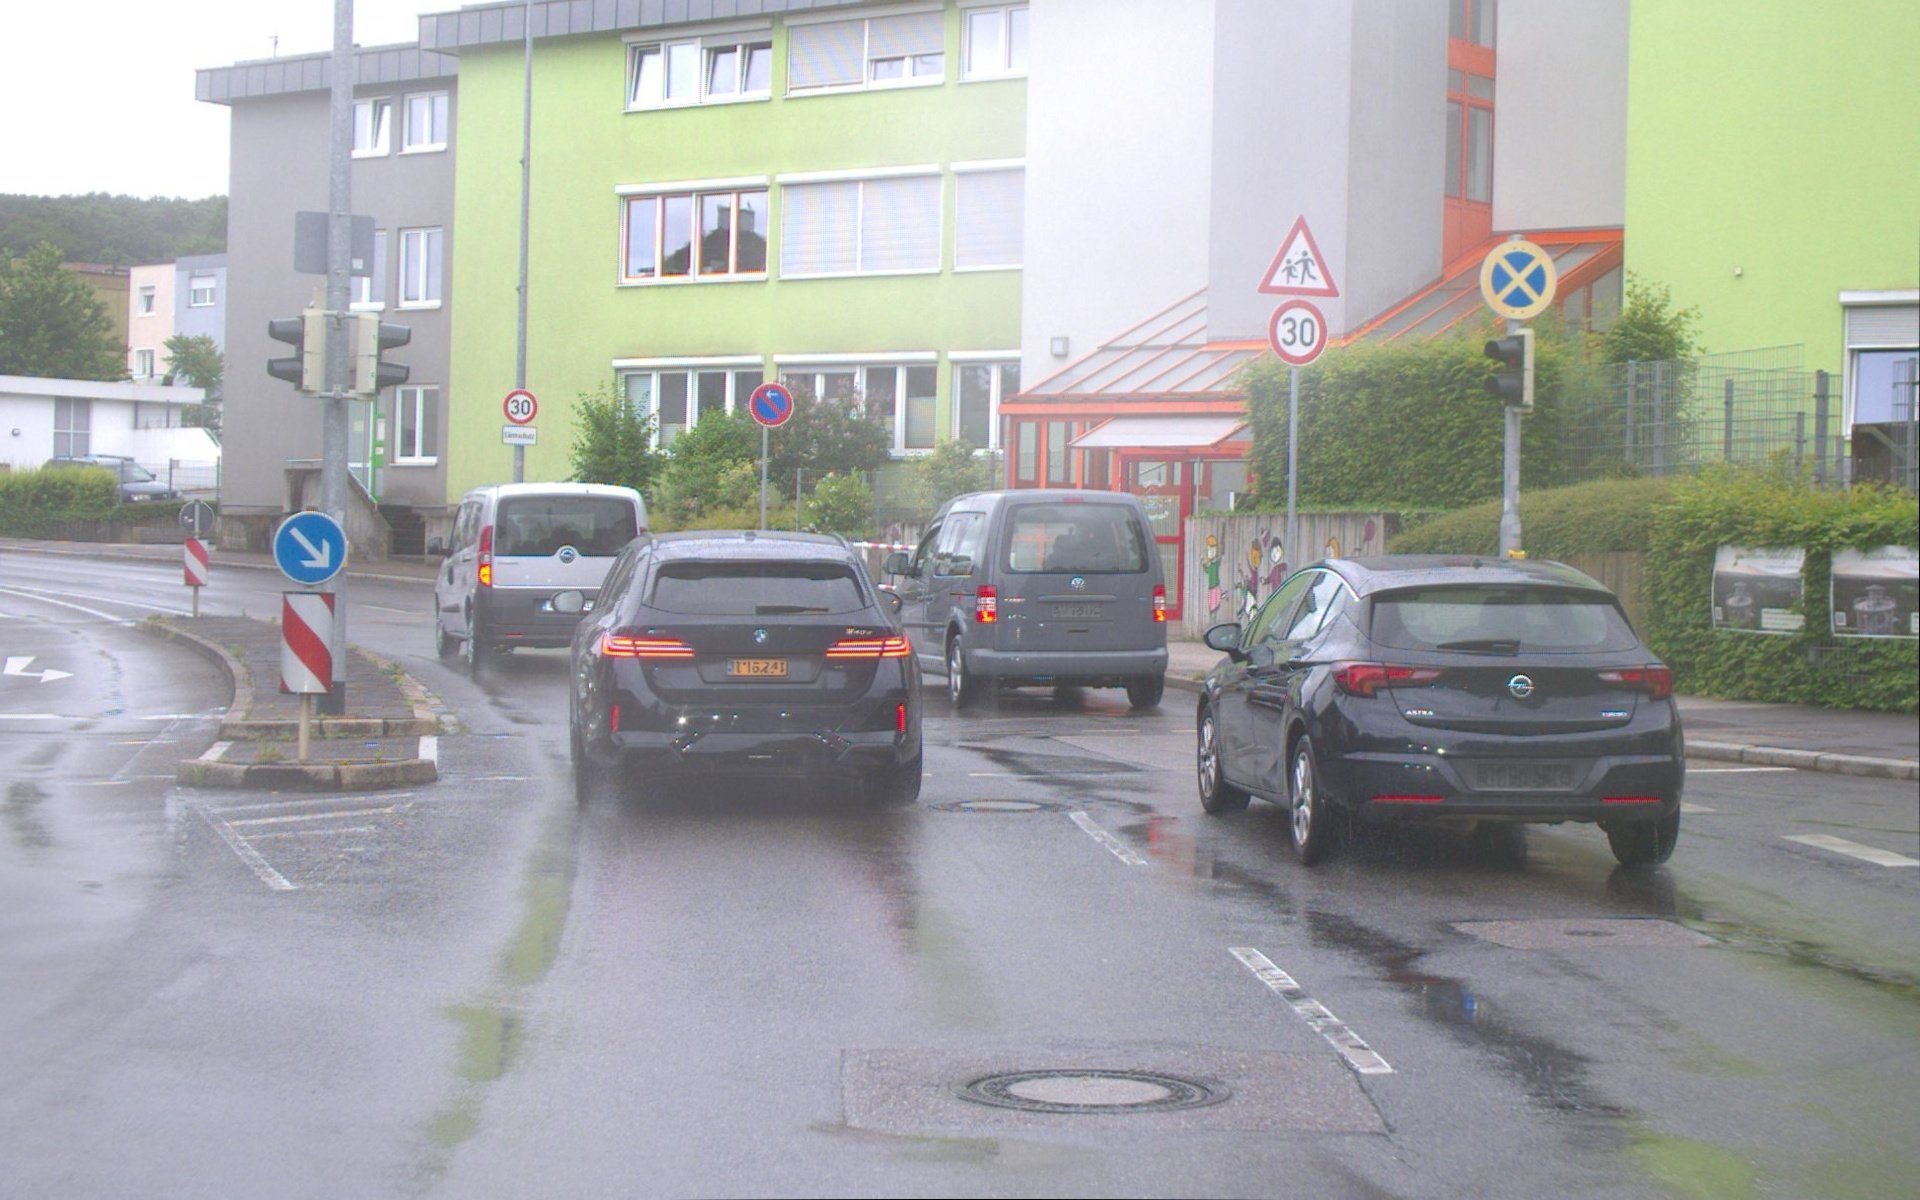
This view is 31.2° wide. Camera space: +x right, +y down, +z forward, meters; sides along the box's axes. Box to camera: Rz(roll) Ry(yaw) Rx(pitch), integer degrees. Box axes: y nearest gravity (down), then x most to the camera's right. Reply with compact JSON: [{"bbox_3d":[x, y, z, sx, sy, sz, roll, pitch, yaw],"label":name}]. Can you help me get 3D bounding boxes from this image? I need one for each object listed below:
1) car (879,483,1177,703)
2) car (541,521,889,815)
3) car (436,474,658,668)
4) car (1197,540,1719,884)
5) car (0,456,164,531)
[{"bbox_3d":[0.505,-0.131,29.618,1.782,1.728,4.088,-1,2,-10],"label":"car"},{"bbox_3d":[-1.494,0.317,19.715,1.682,1.501,3.774,-1,1,-9],"label":"car"},{"bbox_3d":[-4.254,-0.356,34.951,1.716,1.838,4.088,-1,2,-14],"label":"car"},{"bbox_3d":[2.352,0.465,17.292,1.849,1.481,4.087,1,1,-3],"label":"car"},{"bbox_3d":[-21.820,-2.601,84.273,4.393,1.766,2.001,-1,1,-15],"label":"car"}]
